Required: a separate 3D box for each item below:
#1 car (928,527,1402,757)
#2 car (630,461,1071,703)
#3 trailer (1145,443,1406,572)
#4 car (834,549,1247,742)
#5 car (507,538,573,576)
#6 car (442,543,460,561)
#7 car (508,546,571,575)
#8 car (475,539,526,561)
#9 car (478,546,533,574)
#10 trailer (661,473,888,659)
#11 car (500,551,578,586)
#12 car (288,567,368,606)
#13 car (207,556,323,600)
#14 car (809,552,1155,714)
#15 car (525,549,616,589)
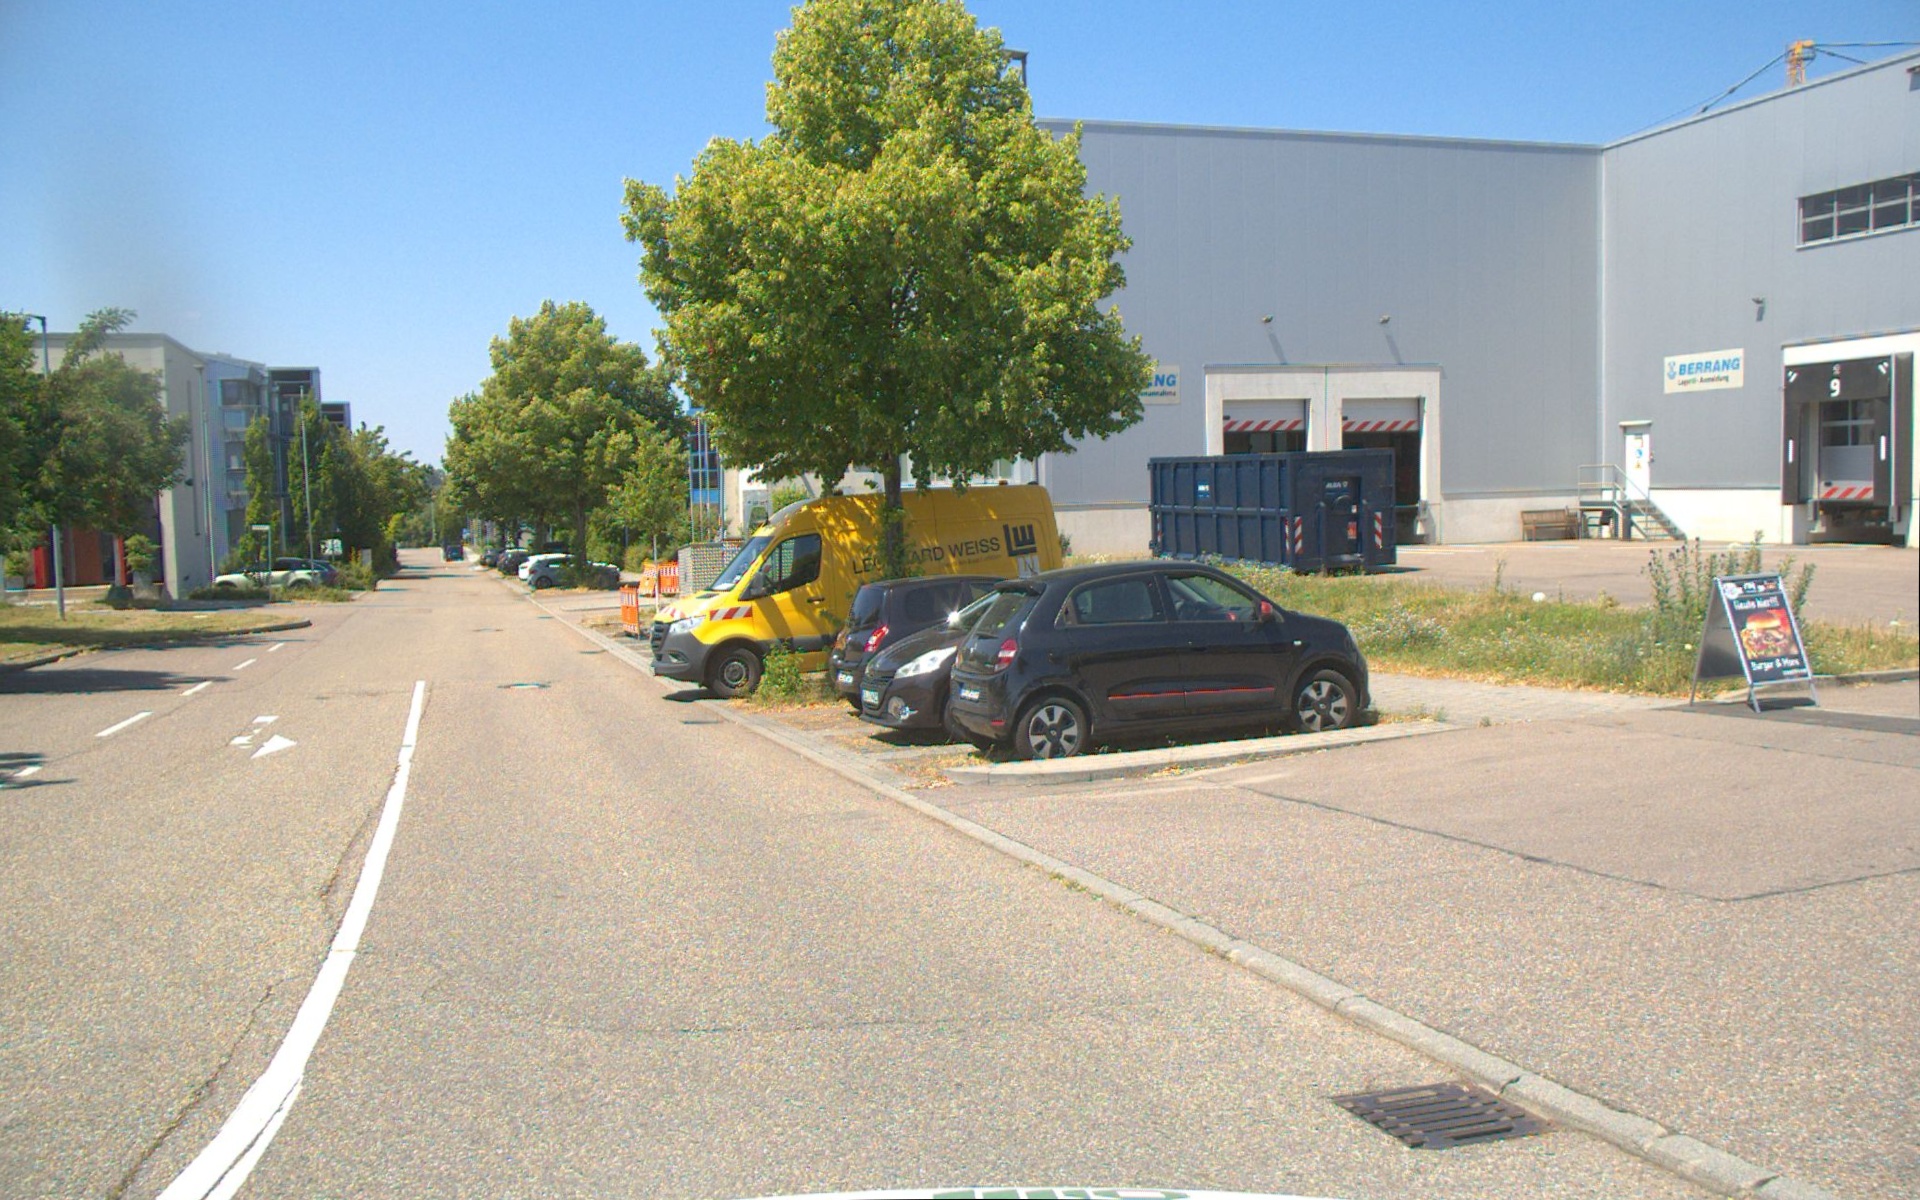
[{"bbox_3d":[1.722,0.282,14.088,3.605,1.487,1.619,-6,3,-18],"label":"car"},{"bbox_3d":[-1.508,-0.348,23.106,5.696,2.778,1.989,-5,4,-20],"label":"car"},{"bbox_3d":[6.649,-2.170,36.192,2.616,2.461,7.387,-2,6,-16],"label":"trailer"},{"bbox_3d":[0.787,0.372,16.322,3.716,1.533,1.581,-4,3,-20],"label":"car"},{"bbox_3d":[-25.467,-2.616,100.241,3.665,2.147,1.805,-3,2,-18],"label":"car"},{"bbox_3d":[-54.390,-5.110,176.683,1.733,1.785,3.926,-3,2,-17],"label":"car"},{"bbox_3d":[-26.286,-2.456,103.443,3.665,1.654,1.805,-3,2,-18],"label":"car"},{"bbox_3d":[-39.081,-4.292,140.648,3.883,1.604,1.753,-4,6,-26],"label":"car"},{"bbox_3d":[-35.472,-3.126,129.181,3.883,1.865,1.753,-4,6,-26],"label":"car"},{"bbox_3d":[-3.530,-0.666,30.309,2.620,2.905,5.485,-6,3,-21],"label":"trailer"},{"bbox_3d":[-20.817,-1.576,81.754,3.470,1.377,1.528,-7,4,-22],"label":"car"},{"bbox_3d":[-26.474,-0.569,69.279,3.019,1.504,1.283,-3,2,-25],"label":"car"},{"bbox_3d":[-26.869,-0.881,64.081,3.988,1.520,1.718,-3,2,-21],"label":"car"},{"bbox_3d":[0.238,0.311,18.753,3.550,1.503,1.619,-4,3,-20],"label":"car"},{"bbox_3d":[-17.162,-1.379,72.874,3.630,1.377,1.634,-7,4,-22],"label":"car"}]
